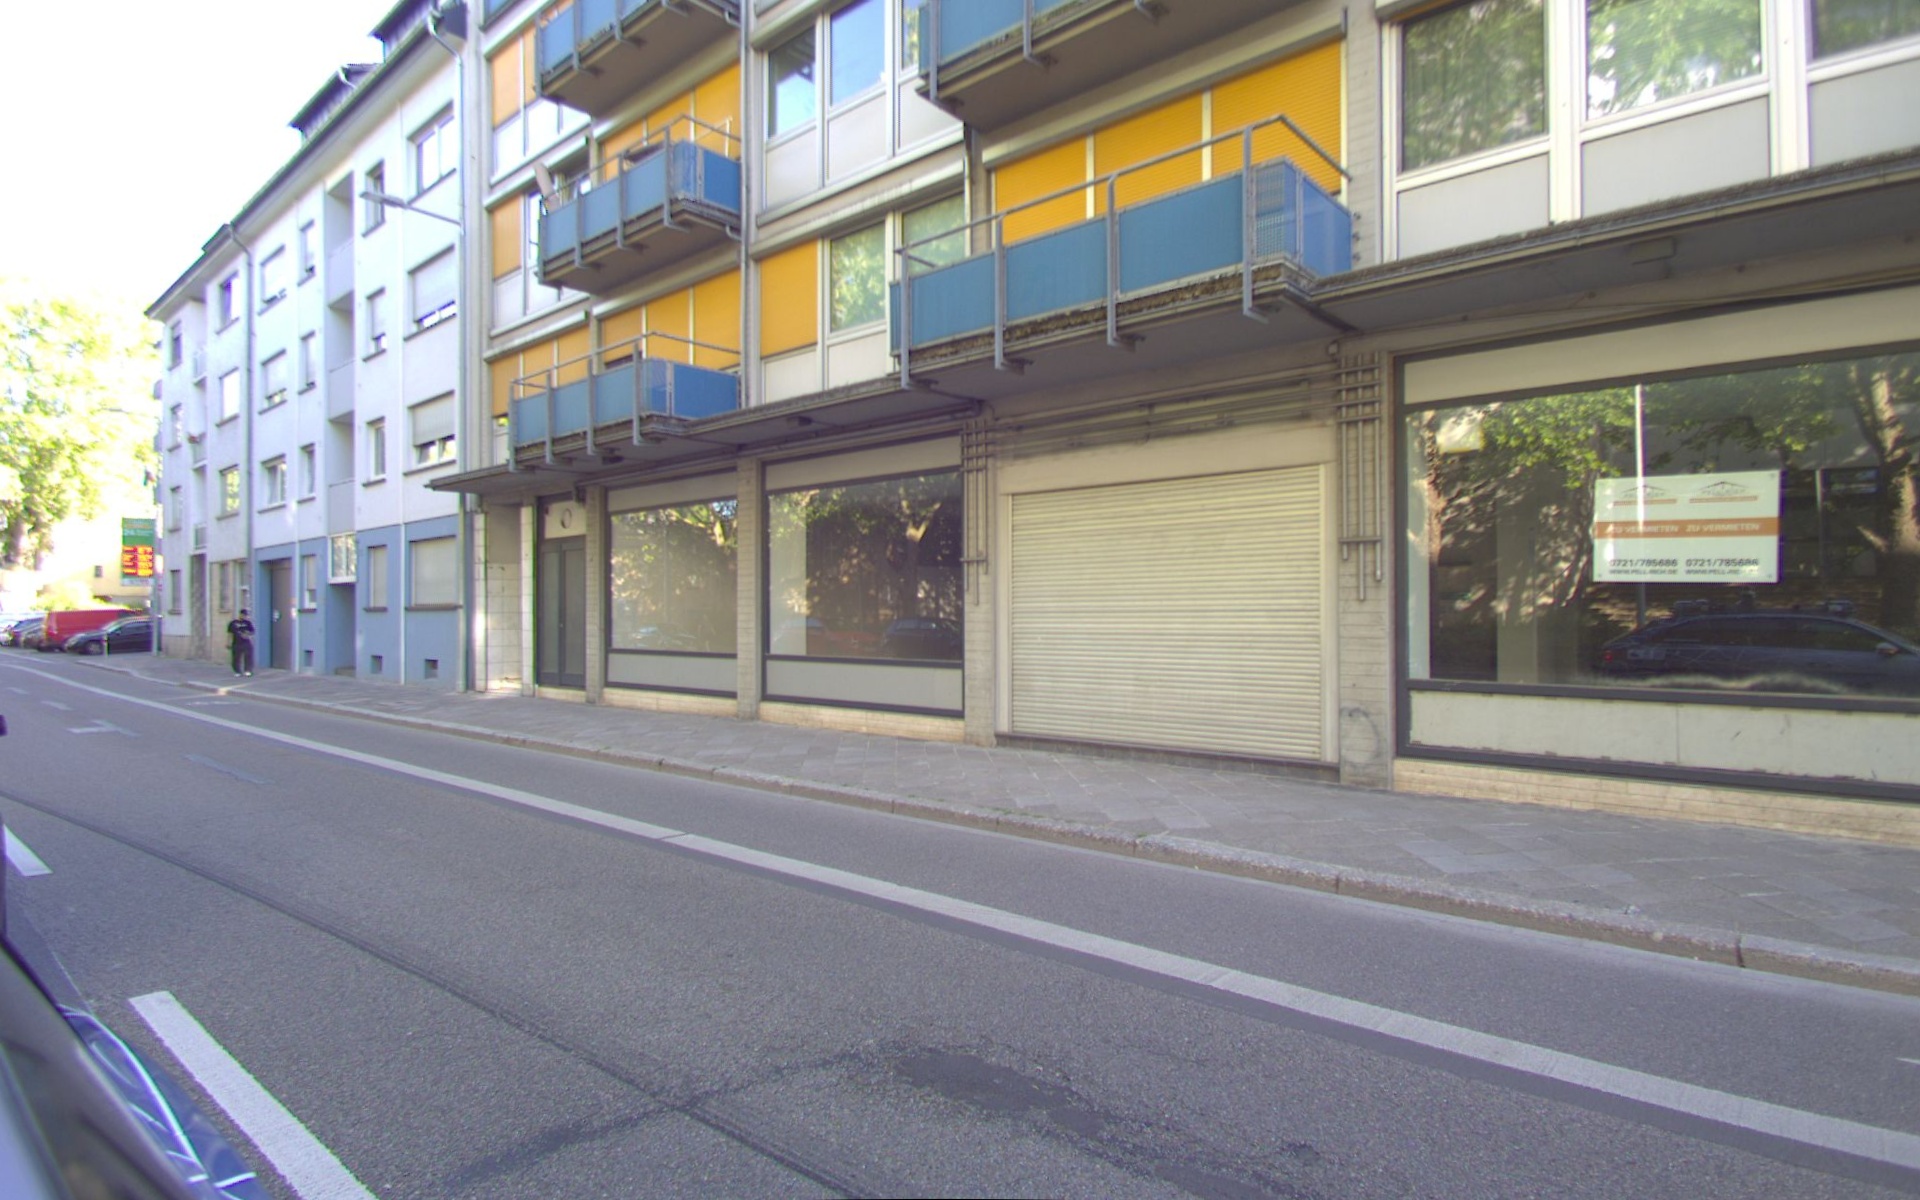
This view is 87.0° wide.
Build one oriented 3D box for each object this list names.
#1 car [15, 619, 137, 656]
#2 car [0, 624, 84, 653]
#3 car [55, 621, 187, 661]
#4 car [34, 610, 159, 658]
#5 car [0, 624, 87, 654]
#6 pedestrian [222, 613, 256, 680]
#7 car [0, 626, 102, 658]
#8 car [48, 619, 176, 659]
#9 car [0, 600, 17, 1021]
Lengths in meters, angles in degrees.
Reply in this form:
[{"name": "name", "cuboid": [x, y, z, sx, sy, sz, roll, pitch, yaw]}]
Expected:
[{"name": "car", "cuboid": [-42.749, 1.791, 49.009, 1.652, 1.480, 4.201, -1, 1, 41]}, {"name": "car", "cuboid": [-55.871, 2.302, 61.193, 1.652, 1.480, 4.201, -1, 1, 41]}, {"name": "car", "cuboid": [-36.487, 1.743, 44.088, 1.652, 1.411, 4.201, -1, 1, 41]}, {"name": "car", "cuboid": [-40.561, 1.559, 47.614, 1.817, 1.933, 4.202, -2, 1, 40]}, {"name": "car", "cuboid": [-54.489, 2.281, 59.785, 1.652, 1.480, 4.201, -1, 1, 41]}, {"name": "pedestrian", "cuboid": [-18.687, 1.200, 26.229, 0.655, 1.708, 0.604, -2, -1, 41]}, {"name": "car", "cuboid": [-50.457, 2.294, 56.100, 1.652, 1.480, 4.201, -1, 1, 41]}, {"name": "car", "cuboid": [-38.180, 1.731, 45.652, 1.652, 1.480, 4.201, -1, 1, 41]}, {"name": "car", "cuboid": [-5.636, 0.790, 4.400, 4.300, 1.510, 1.826, -1, -1, 41]}]
